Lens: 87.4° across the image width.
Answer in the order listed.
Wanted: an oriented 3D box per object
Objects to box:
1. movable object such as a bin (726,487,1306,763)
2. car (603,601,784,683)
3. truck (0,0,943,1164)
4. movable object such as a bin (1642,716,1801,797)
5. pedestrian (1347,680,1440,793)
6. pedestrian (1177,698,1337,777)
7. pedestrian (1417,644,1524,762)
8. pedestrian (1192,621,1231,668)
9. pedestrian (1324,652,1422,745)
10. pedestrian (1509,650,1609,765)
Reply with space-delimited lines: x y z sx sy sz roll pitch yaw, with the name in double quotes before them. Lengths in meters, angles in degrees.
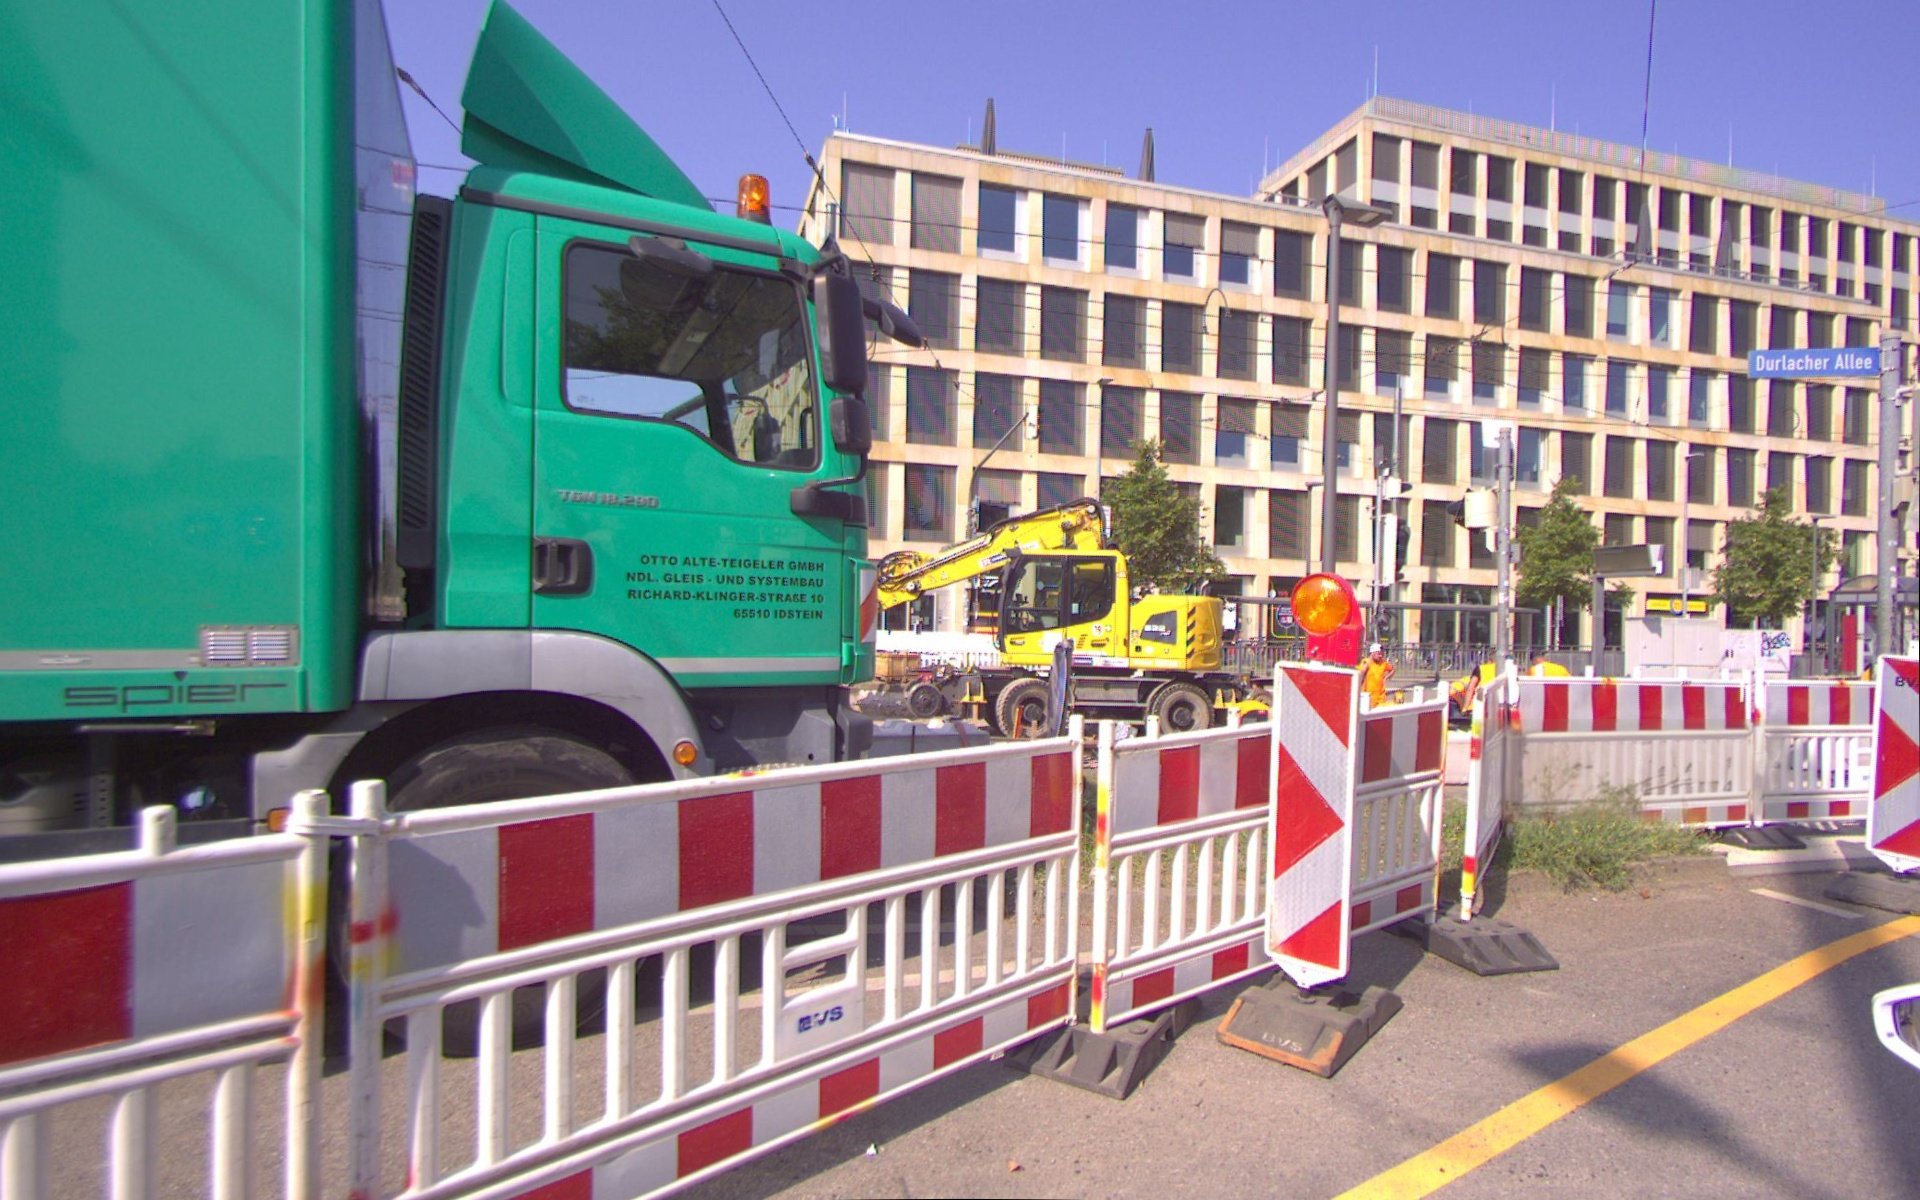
"movable object such as a bin" 0.934 0.359 17.164 8.857 4.066 3.518 1 -1 8
"car" -7.315 1.096 27.407 5.030 2.057 1.813 0 -2 32
"truck" -4.299 -0.465 3.121 8.103 3.727 2.666 2 -1 -25
"movable object such as a bin" 8.223 1.674 10.927 0.687 0.661 1.511 1 -1 5
"pedestrian" 5.149 1.600 11.989 0.782 1.206 0.986 1 -1 8
"pedestrian" 3.219 1.484 11.111 0.896 0.644 1.904 1 -1 -12
"pedestrian" 6.214 1.215 12.300 0.782 1.324 1.317 1 -1 8
"pedestrian" 9.635 1.689 38.555 1.105 1.775 0.976 2 -1 -16
"pedestrian" 6.274 1.475 15.305 0.965 1.324 1.016 1 -1 -13
"pedestrian" 7.325 1.294 12.317 0.782 1.324 0.841 1 -1 8
